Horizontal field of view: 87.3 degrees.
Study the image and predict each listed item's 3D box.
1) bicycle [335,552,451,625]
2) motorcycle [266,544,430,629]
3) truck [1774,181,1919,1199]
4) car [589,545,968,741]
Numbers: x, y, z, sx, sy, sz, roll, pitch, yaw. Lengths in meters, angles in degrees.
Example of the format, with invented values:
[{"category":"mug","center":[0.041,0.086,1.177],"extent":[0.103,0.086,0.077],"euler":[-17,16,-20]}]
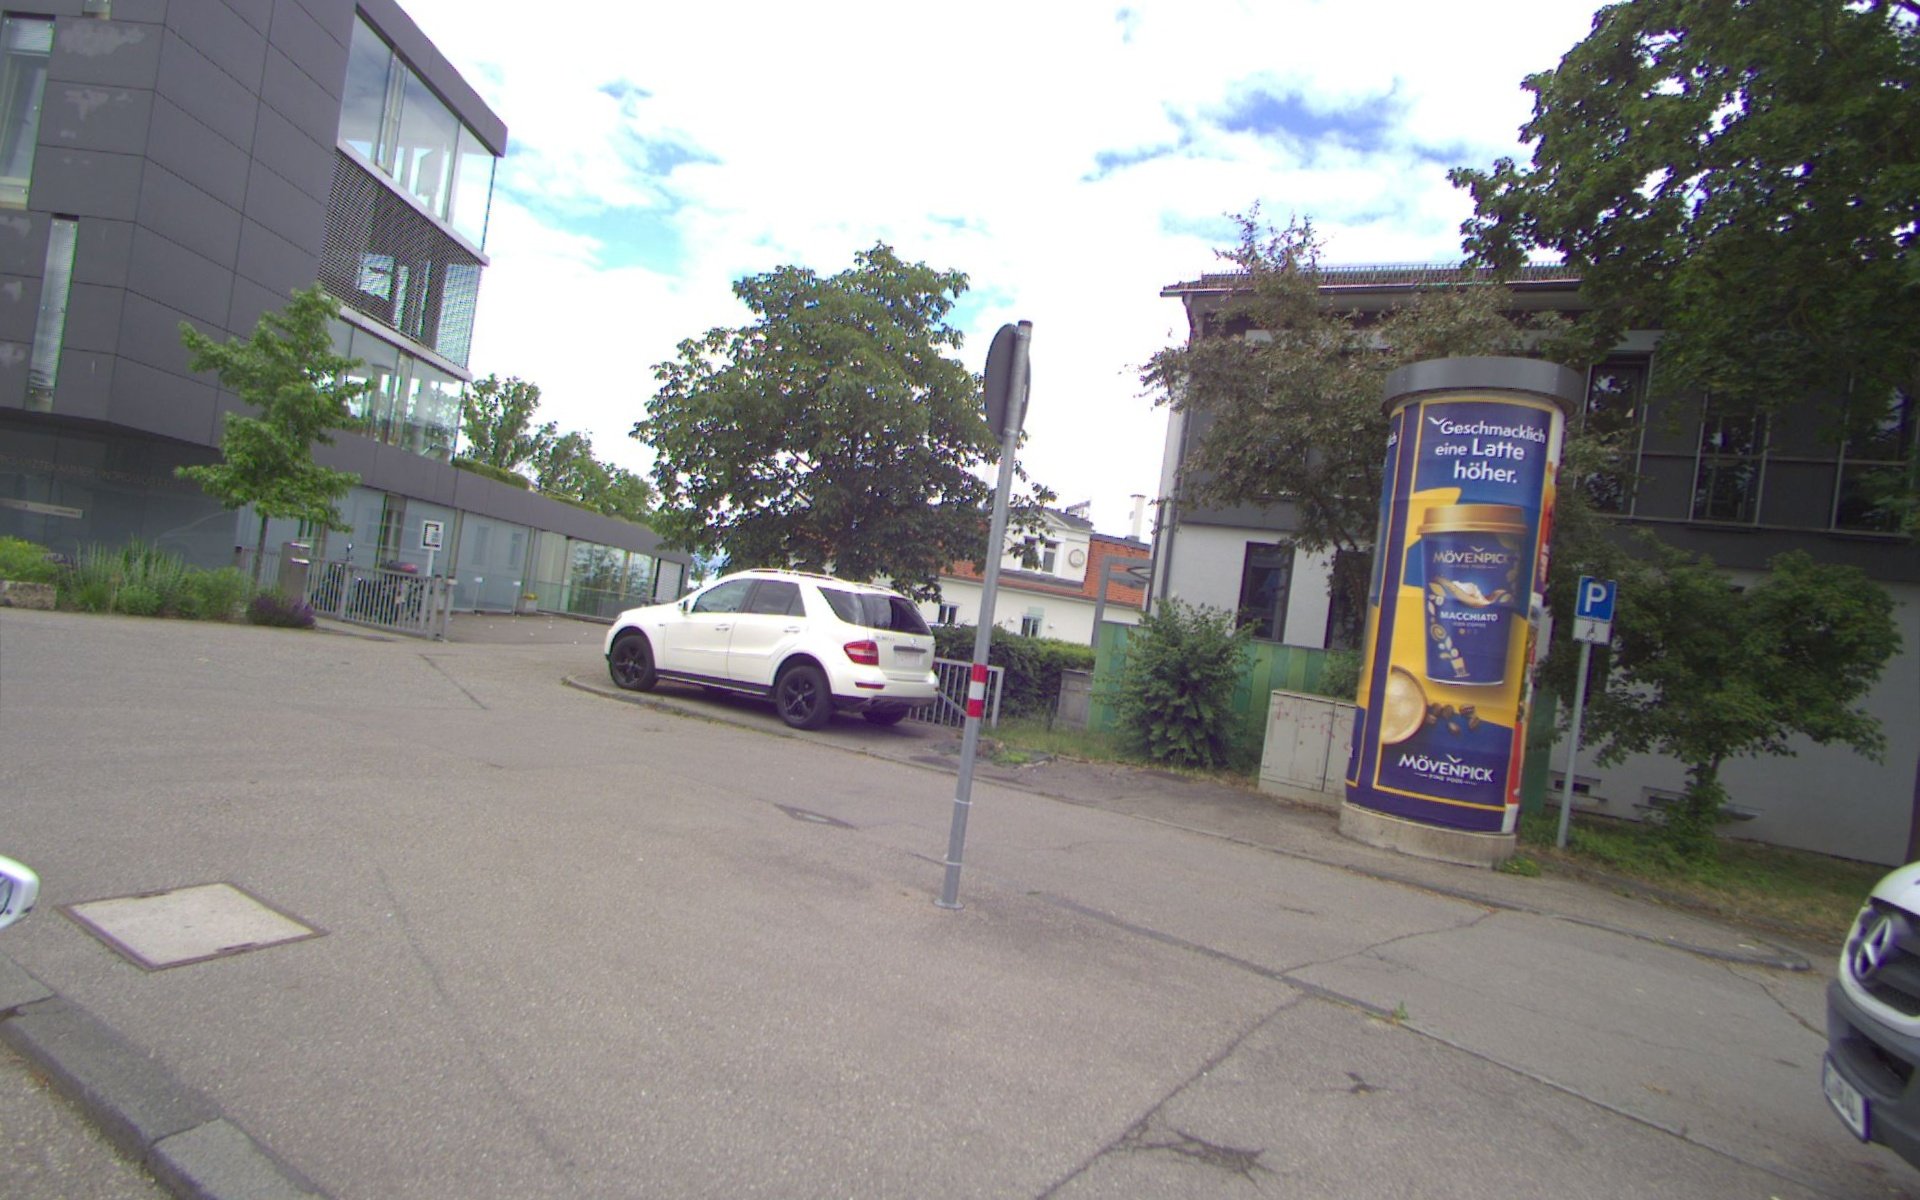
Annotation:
[{"category":"bicycle","center":[-12.286,-0.242,21.805],"extent":[2.063,1.275,0.616],"euler":[8,0,4]},{"category":"motorcycle","center":[-12.074,-0.247,19.893],"extent":[2.644,1.275,0.849],"euler":[8,-1,4]},{"category":"truck","center":[6.165,0.528,1.016],"extent":[7.680,3.567,2.578],"euler":[7,-1,32]},{"category":"car","center":[-2.390,0.486,12.999],"extent":[4.441,1.860,1.997],"euler":[6,0,30]}]
